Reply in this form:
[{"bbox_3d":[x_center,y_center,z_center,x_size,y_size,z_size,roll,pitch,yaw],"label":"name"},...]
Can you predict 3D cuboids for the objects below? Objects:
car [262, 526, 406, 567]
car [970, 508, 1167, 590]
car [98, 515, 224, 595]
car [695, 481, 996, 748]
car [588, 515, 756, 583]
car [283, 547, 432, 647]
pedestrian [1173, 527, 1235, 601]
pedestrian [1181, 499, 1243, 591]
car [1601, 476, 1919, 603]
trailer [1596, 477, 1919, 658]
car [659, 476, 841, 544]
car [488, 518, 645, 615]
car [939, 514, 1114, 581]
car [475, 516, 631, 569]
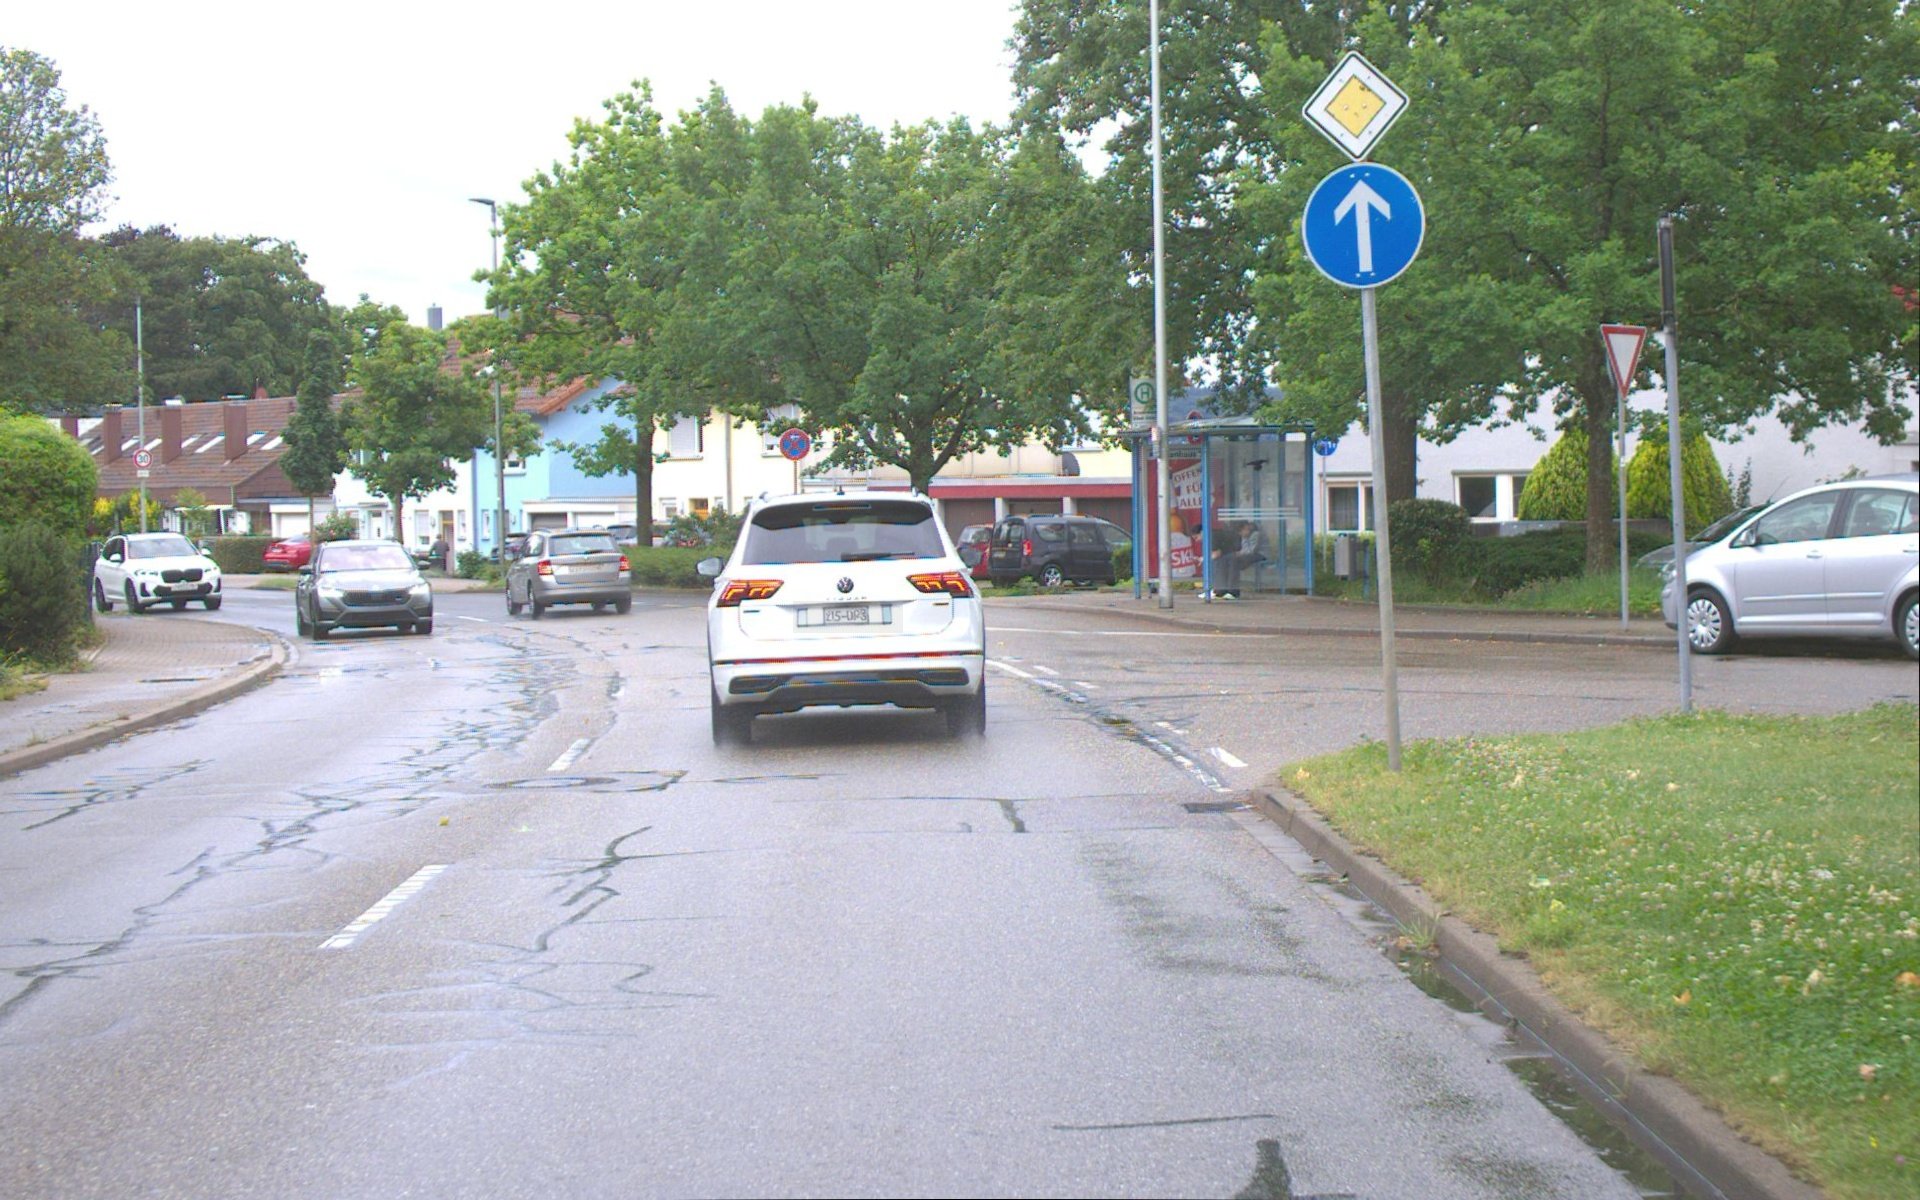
[{"bbox_3d":[-19.794,-1.685,108.806,1.678,1.256,4.306,2,1,44],"label":"car"},{"bbox_3d":[2.399,-1.127,75.715,3.988,1.715,1.924,-2,2,-37],"label":"car"},{"bbox_3d":[-17.045,-0.974,73.184,1.890,1.606,4.867,-1,2,-22],"label":"car"},{"bbox_3d":[-0.755,0.041,23.822,1.865,1.645,4.000,-2,2,-1],"label":"car"},{"bbox_3d":[-7.508,-1.315,89.758,4.181,1.666,1.721,1,0,-43],"label":"car"},{"bbox_3d":[-9.214,-0.079,52.346,1.740,1.410,4.144,-1,1,-16],"label":"car"},{"bbox_3d":[3.406,-0.505,48.004,0.748,1.008,0.551,-1,1,-9],"label":"pedestrian"},{"bbox_3d":[3.459,-0.758,47.239,0.726,1.246,0.551,-1,1,-9],"label":"pedestrian"},{"bbox_3d":[9.927,-0.756,42.185,3.645,1.481,1.760,-1,1,-12],"label":"car"},{"bbox_3d":[8.083,-0.321,31.146,1.994,1.537,4.425,-2,2,-35],"label":"trailer"},{"bbox_3d":[-5.340,-2.289,87.571,4.180,1.666,1.991,-2,2,-35],"label":"car"},{"bbox_3d":[-6.649,-0.589,57.810,1.768,1.546,4.001,-1,1,-19],"label":"car"},{"bbox_3d":[1.524,-1.211,78.406,3.693,1.437,1.706,-2,2,-37],"label":"car"},{"bbox_3d":[-11.300,-1.602,95.594,3.988,1.382,1.674,-2,2,-39],"label":"car"}]
